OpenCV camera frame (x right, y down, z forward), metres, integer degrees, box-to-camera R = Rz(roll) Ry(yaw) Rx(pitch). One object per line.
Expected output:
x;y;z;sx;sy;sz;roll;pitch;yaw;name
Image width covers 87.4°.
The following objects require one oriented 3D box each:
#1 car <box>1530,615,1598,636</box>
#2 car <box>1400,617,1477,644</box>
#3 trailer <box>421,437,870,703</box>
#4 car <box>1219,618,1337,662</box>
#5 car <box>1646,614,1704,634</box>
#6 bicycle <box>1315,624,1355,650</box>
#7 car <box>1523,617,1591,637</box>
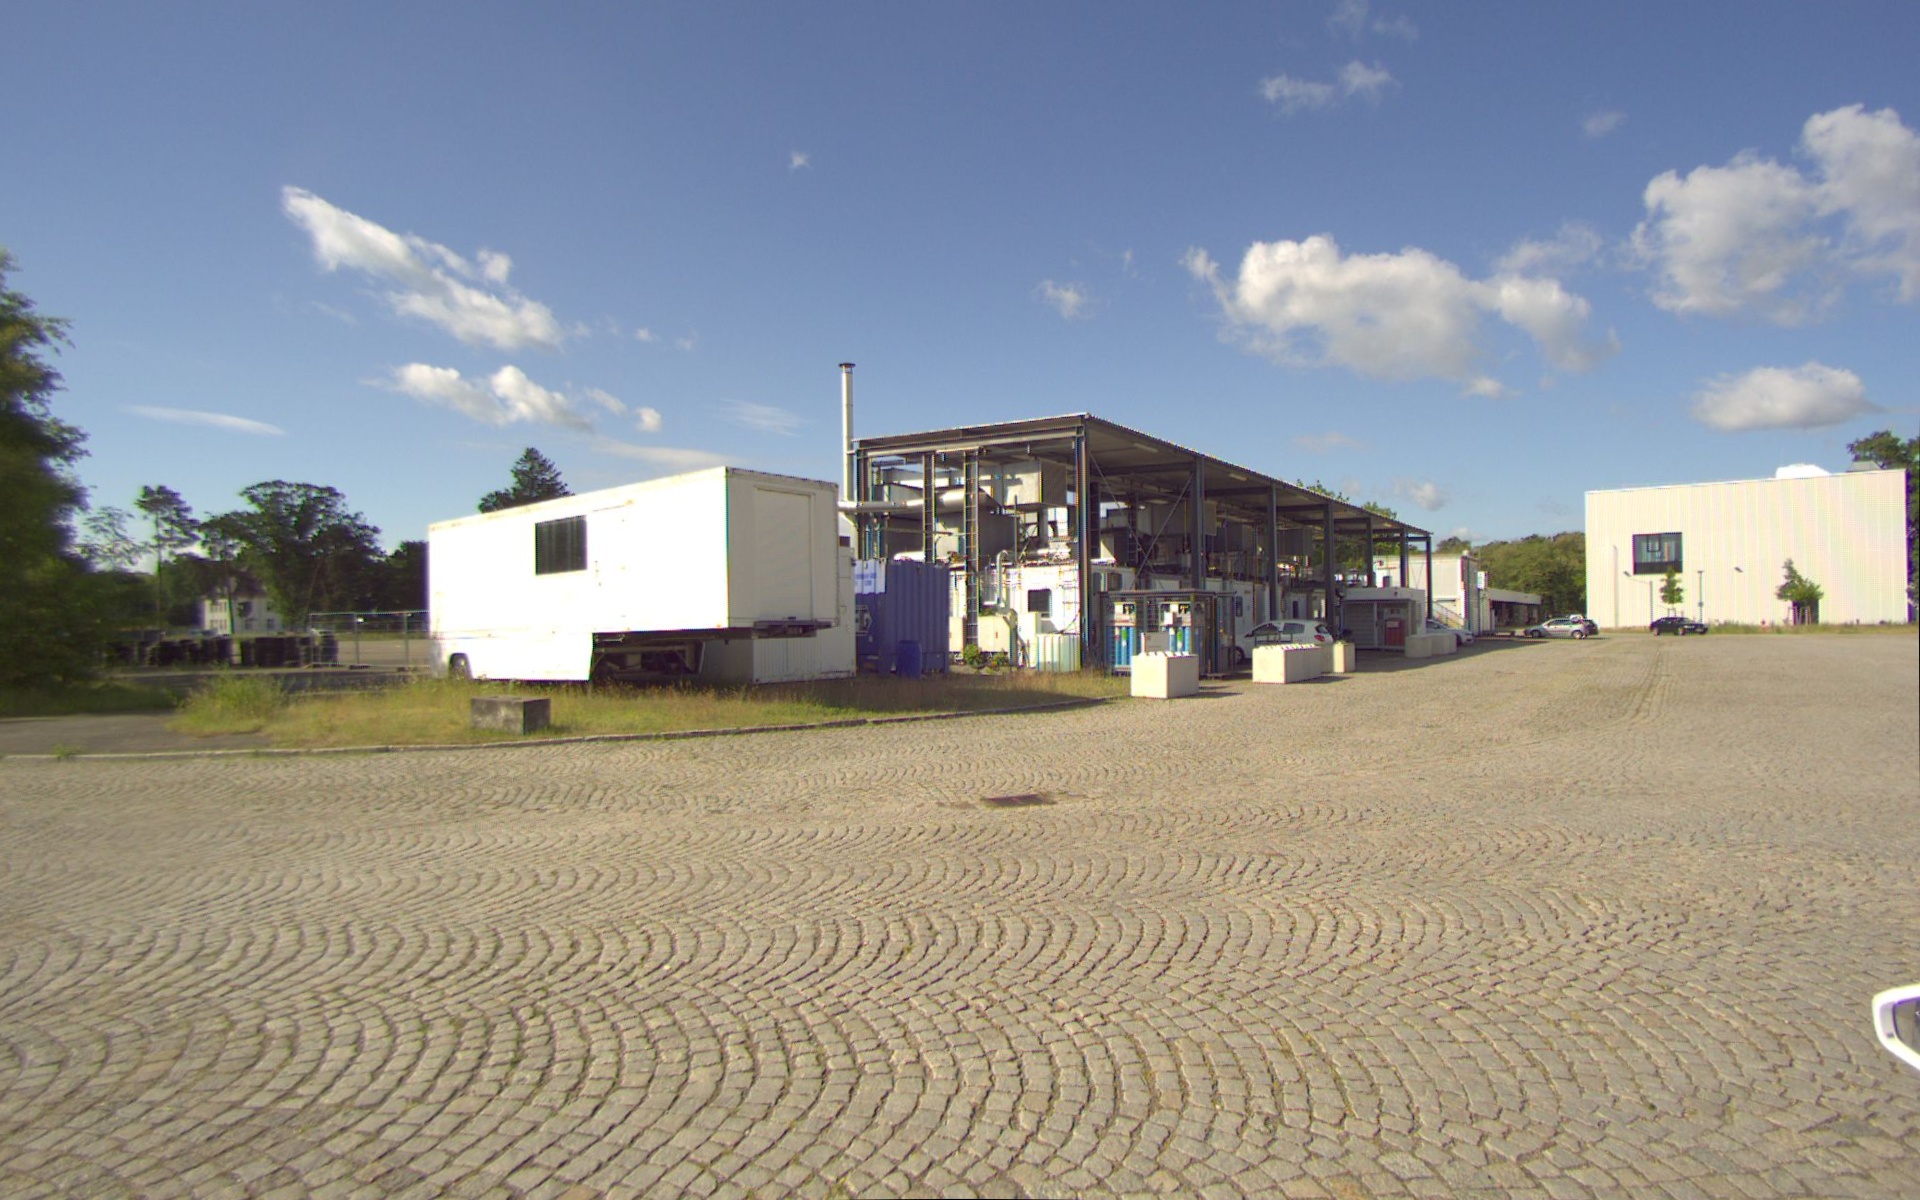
45.692;1.933;75.988;4.287;1.489;1.735;-2;-2;35;car
26.513;1.677;55.660;3.635;1.427;1.671;-2;-2;33;car
-6.593;-0.299;19.424;10.718;3.962;2.770;-2;-2;38;trailer
10.523;1.317;33.297;3.414;1.394;1.607;-2;-2;33;car
55.159;1.870;77.563;1.706;1.448;4.078;-1;-2;3;car
16.897;1.687;45.280;1.643;1.151;0.484;-2;-2;35;bicycle
43.649;1.976;73.484;4.119;1.422;1.735;-2;-2;35;car
